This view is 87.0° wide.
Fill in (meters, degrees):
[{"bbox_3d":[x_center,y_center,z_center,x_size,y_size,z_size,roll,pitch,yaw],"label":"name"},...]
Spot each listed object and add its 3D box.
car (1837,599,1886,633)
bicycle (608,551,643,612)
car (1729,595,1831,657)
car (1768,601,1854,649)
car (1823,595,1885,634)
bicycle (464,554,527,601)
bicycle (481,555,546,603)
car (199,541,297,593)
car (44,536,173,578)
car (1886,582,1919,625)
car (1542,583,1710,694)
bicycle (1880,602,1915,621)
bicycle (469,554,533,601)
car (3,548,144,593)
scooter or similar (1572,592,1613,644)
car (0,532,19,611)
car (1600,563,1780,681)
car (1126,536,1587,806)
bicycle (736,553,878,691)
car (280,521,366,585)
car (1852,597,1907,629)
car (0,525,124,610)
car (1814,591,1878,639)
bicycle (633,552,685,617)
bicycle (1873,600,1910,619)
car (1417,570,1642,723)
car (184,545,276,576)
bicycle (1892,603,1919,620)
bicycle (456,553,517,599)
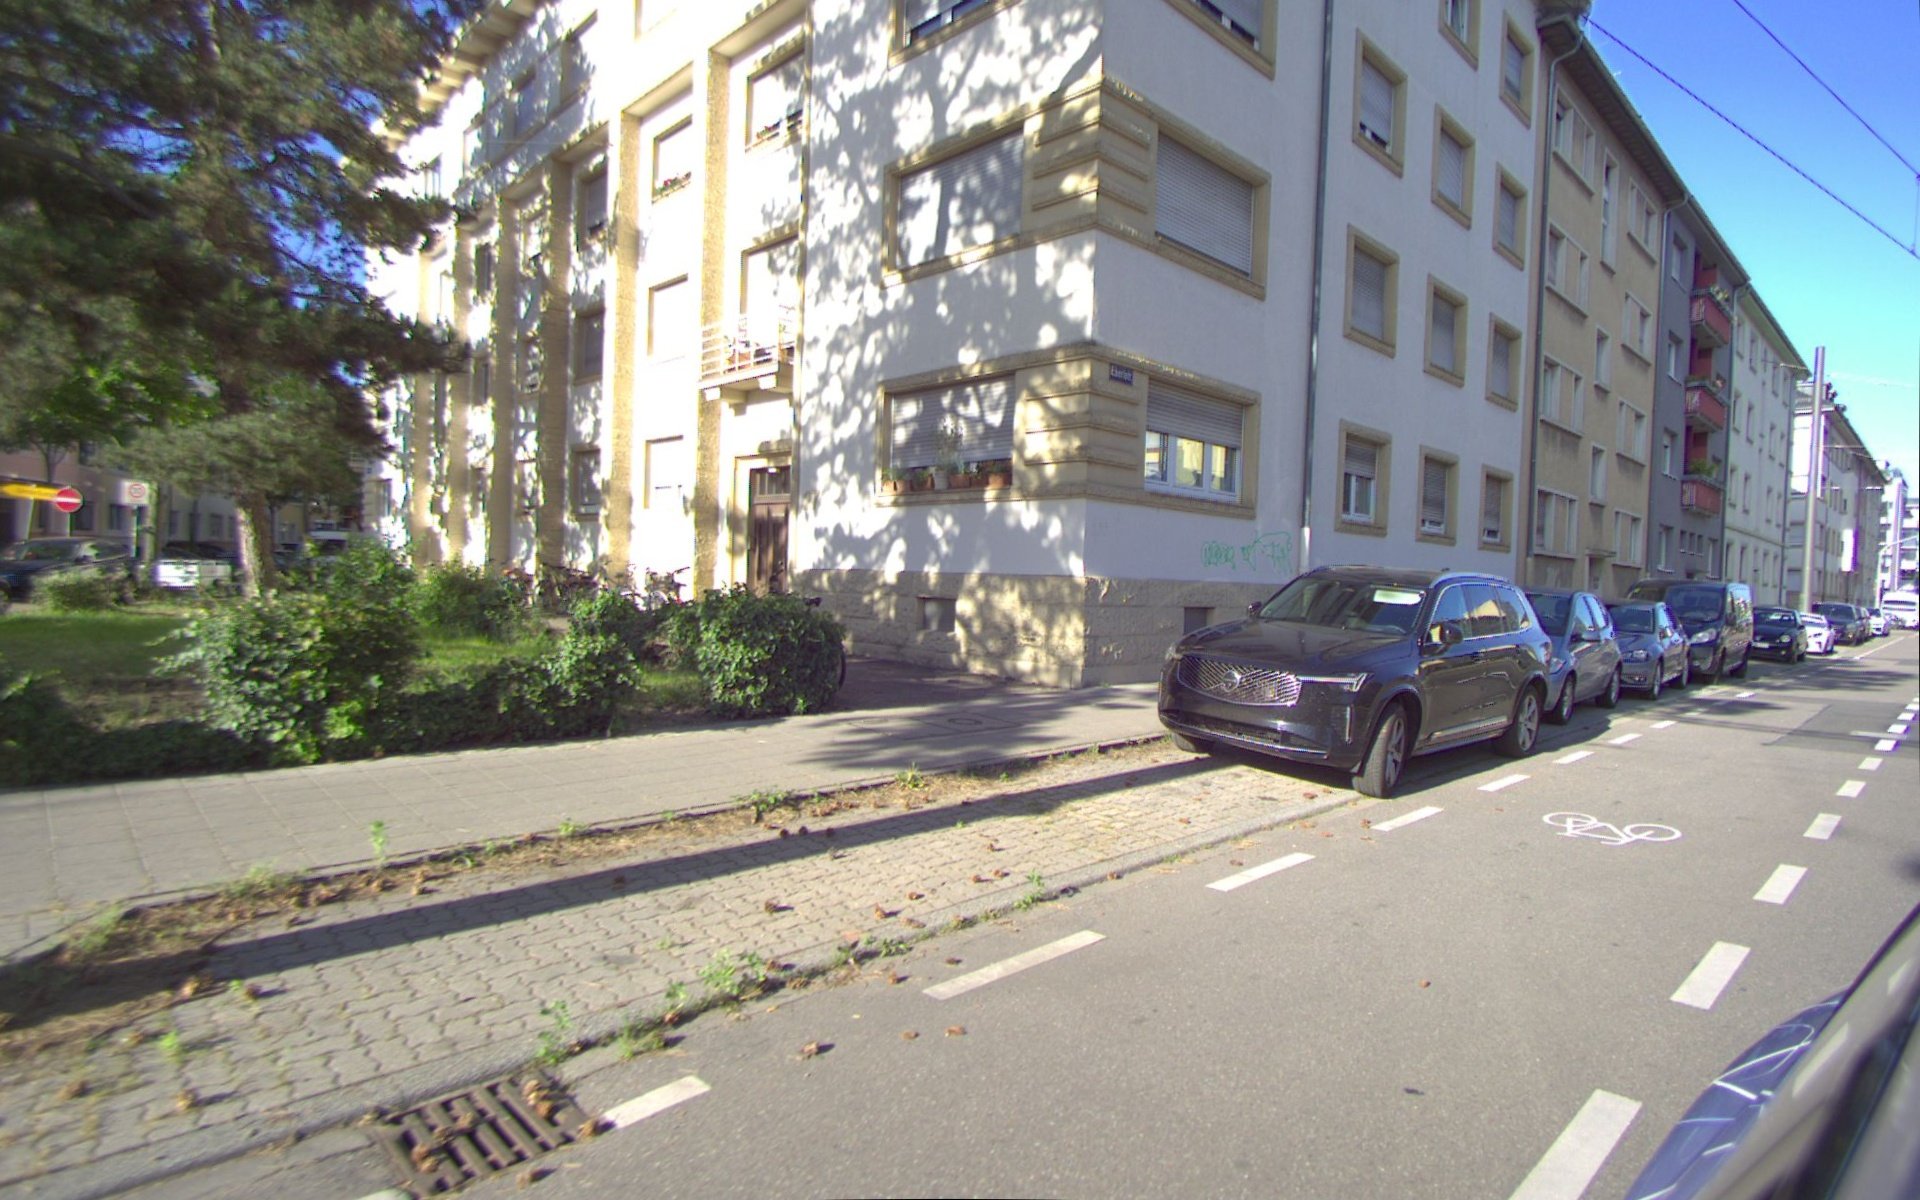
[{"bbox_3d":[42.901,0.739,48.167,1.635,1.476,4.019,4,2,42],"label":"car"},{"bbox_3d":[-6.601,-0.379,19.940,0.383,1.126,1.390,2,3,-28],"label":"bicycle"},{"bbox_3d":[22.497,0.678,27.723,3.726,1.471,1.638,1,4,-44],"label":"car"},{"bbox_3d":[27.862,0.775,33.083,4.233,1.290,1.704,1,6,-45],"label":"car"},{"bbox_3d":[39.200,0.641,44.351,4.118,1.536,1.638,1,2,-44],"label":"car"},{"bbox_3d":[-11.748,-0.557,25.614,1.362,1.126,0.391,1,3,-39],"label":"bicycle"},{"bbox_3d":[-10.862,-0.502,24.611,1.362,1.126,0.391,1,3,-39],"label":"bicycle"},{"bbox_3d":[-24.338,-1.074,34.753,1.762,1.631,4.008,1,0,-21],"label":"car"},{"bbox_3d":[-37.707,-1.868,44.935,3.915,1.728,2.004,0,-1,-17],"label":"car"},{"bbox_3d":[65.589,0.251,69.754,6.188,2.728,2.154,1,4,-44],"label":"car"},{"bbox_3d":[10.886,0.543,16.414,1.511,1.496,4.172,5,3,43],"label":"car"},{"bbox_3d":[61.310,0.742,66.175,0.465,1.100,1.919,-1,3,-1],"label":"bicycle"},{"bbox_3d":[-11.430,-0.560,25.223,1.362,1.126,0.391,1,3,-39],"label":"bicycle"},{"bbox_3d":[-36.937,-1.195,42.297,3.915,1.728,2.004,0,-1,-17],"label":"car"},{"bbox_3d":[16.134,0.448,25.800,1.316,1.253,0.459,1,5,-44],"label":"scooter or similar"},{"bbox_3d":[-18.633,-0.484,17.726,1.732,1.487,3.922,2,2,-20],"label":"car"},{"bbox_3d":[14.455,0.371,19.916,5.051,1.922,1.916,1,5,-45],"label":"car"},{"bbox_3d":[3.808,0.461,9.180,4.850,1.737,1.882,1,5,-43],"label":"car"},{"bbox_3d":[-1.696,0.187,10.971,0.554,1.316,1.833,1,3,-42],"label":"bicycle"},{"bbox_3d":[-27.488,-1.949,43.887,2.081,2.474,5.328,1,-1,-21],"label":"car"},{"bbox_3d":[46.896,0.661,51.584,4.306,1.476,1.696,1,2,-44],"label":"car"},{"bbox_3d":[-20.654,-0.728,22.634,1.732,1.733,3.921,2,1,-20],"label":"car"},{"bbox_3d":[35.395,0.578,40.404,1.637,1.667,4.304,6,4,43],"label":"car"},{"bbox_3d":[-5.572,-0.300,18.698,0.384,1.126,1.386,1,3,-39],"label":"bicycle"},{"bbox_3d":[60.281,0.610,65.535,0.465,1.100,1.919,5,3,-1],"label":"bicycle"},{"bbox_3d":[7.469,0.501,13.110,1.594,1.597,3.835,6,4,43],"label":"car"},{"bbox_3d":[-43.009,-2.303,59.704,3.915,1.728,2.004,0,-1,-17],"label":"car"},{"bbox_3d":[62.198,0.764,66.324,0.478,1.101,2.026,0,0,3],"label":"bicycle"},{"bbox_3d":[-12.270,-0.623,26.251,1.362,1.126,0.391,1,3,-39],"label":"bicycle"}]
